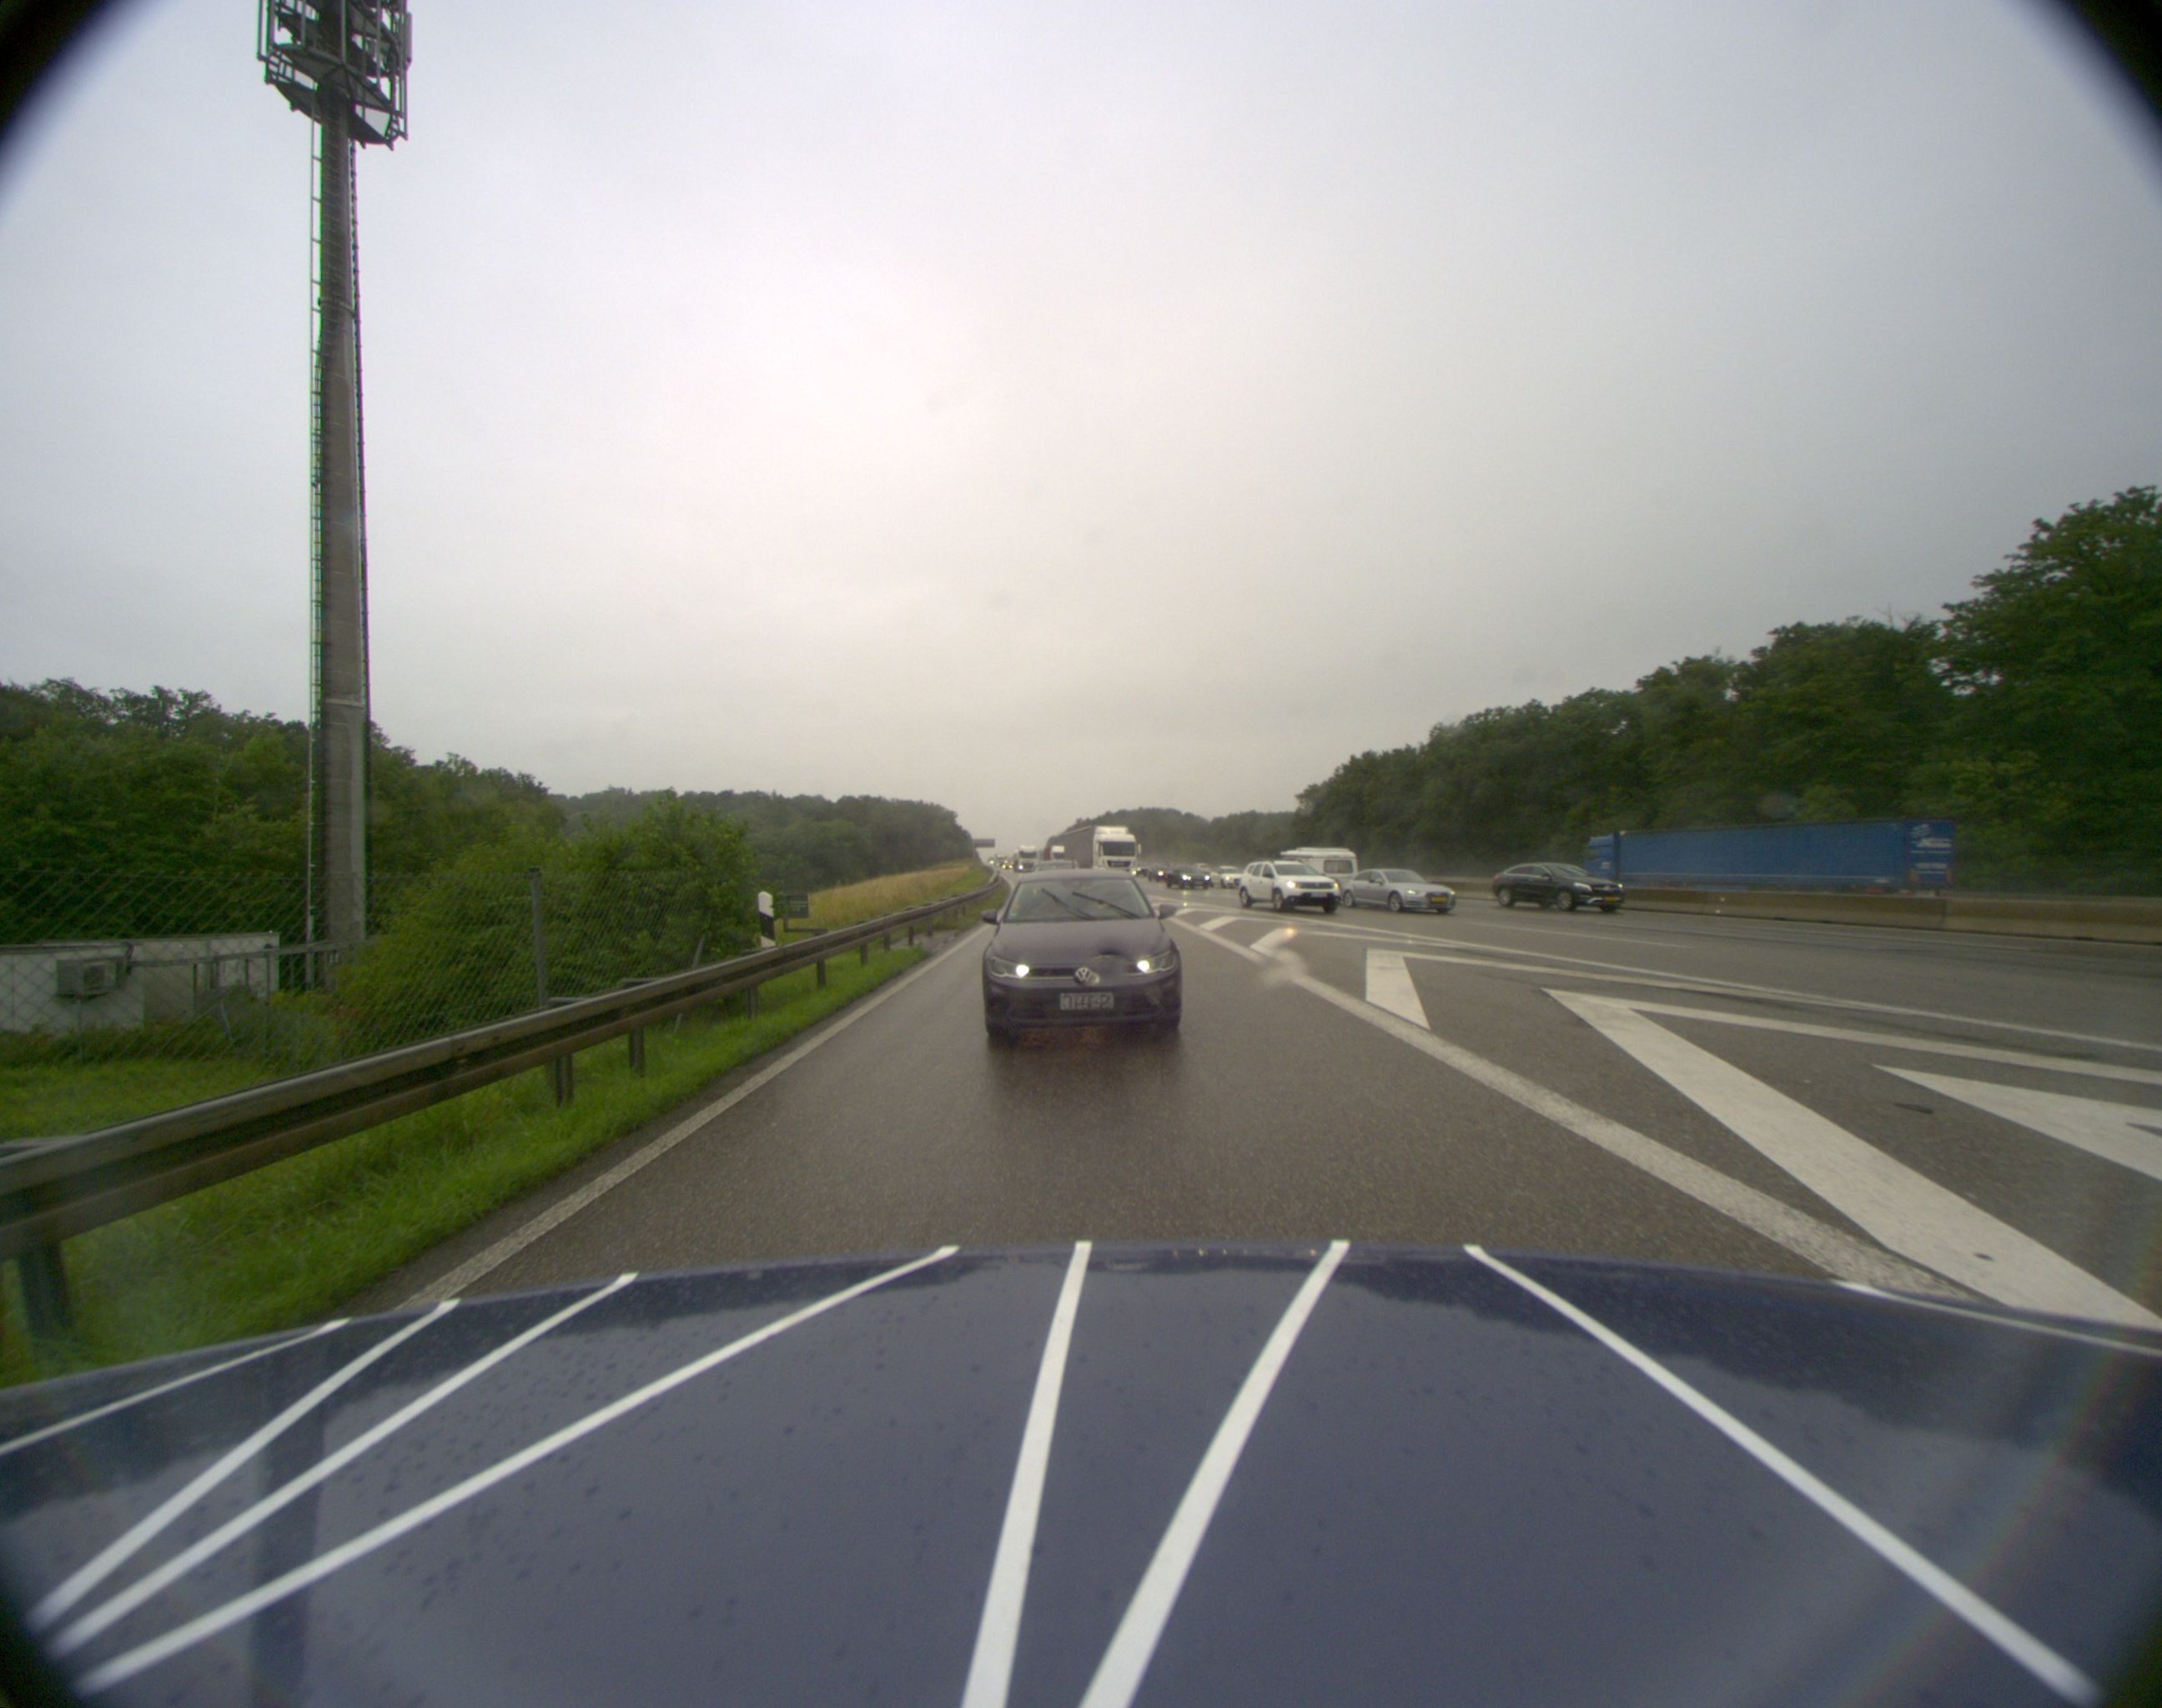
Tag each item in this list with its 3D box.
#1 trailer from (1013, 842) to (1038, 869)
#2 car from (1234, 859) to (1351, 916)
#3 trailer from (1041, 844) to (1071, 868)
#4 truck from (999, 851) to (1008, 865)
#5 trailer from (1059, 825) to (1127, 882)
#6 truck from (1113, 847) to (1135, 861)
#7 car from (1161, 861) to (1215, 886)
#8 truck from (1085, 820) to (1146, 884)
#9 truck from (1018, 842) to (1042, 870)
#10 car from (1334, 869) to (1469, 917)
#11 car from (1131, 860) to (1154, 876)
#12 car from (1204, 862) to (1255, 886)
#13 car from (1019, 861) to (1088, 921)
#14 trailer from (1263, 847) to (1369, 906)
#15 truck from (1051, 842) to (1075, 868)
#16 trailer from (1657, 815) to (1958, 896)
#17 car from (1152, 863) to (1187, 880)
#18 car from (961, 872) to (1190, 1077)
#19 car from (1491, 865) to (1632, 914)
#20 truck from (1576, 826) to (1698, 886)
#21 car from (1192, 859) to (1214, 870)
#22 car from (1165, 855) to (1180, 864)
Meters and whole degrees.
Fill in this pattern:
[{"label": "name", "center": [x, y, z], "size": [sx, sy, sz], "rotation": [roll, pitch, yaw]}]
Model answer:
[{"label": "trailer", "center": [-8.800, 0.300, 119.210], "size": [2.772, 4.002, 11.031], "rotation": [1, 0, -10]}, {"label": "car", "center": [6.486, 0.996, 23.859], "size": [1.792, 1.576, 4.320], "rotation": [2, -1, -10]}, {"label": "trailer", "center": [-4.121, 0.310, 120.909], "size": [2.692, 3.484, 15.113], "rotation": [-3, 0, -9]}, {"label": "truck", "center": [-23.750, 1.373, 233.101], "size": [2.597, 4.120, 5.229], "rotation": [-3, -1, -3]}, {"label": "trailer", "center": [0.648, 0.028, 60.231], "size": [2.905, 3.959, 14.107], "rotation": [0, -1, -10]}, {"label": "truck", "center": [11.226, 0.124, 201.394], "size": [3.158, 3.643, 15.200], "rotation": [0, -1, -8]}, {"label": "car", "center": [6.695, 1.217, 47.859], "size": [1.887, 1.472, 4.497], "rotation": [1, 0, -13]}, {"label": "truck", "center": [2.188, -0.080, 50.890], "size": [2.882, 4.028, 5.929], "rotation": [0, 0, -10]}, {"label": "truck", "center": [-7.641, 0.252, 112.809], "size": [2.760, 3.984, 6.502], "rotation": [1, 0, -10]}, {"label": "car", "center": [10.294, 1.200, 24.828], "size": [1.852, 1.340, 4.578], "rotation": [2, -1, -10]}, {"label": "car", "center": [7.404, 1.670, 92.047], "size": [1.734, 1.781, 3.891], "rotation": [1, -1, -12]}, {"label": "car", "center": [9.940, 1.315, 51.152], "size": [1.886, 1.472, 4.498], "rotation": [1, 0, -10]}, {"label": "car", "center": [-0.742, 1.036, 23.033], "size": [1.810, 1.532, 4.000], "rotation": [-3, 0, 0]}, {"label": "trailer", "center": [9.375, 0.867, 30.840], "size": [2.136, 2.143, 5.177], "rotation": [2, -1, -7]}, {"label": "truck", "center": [-2.696, 0.178, 112.186], "size": [2.698, 3.635, 5.321], "rotation": [-3, 0, -9]}, {"label": "trailer", "center": [34.858, 0.092, 37.579], "size": [2.741, 3.397, 11.389], "rotation": [0, 0, -10]}, {"label": "car", "center": [7.531, 1.501, 64.700], "size": [1.824, 1.405, 4.121], "rotation": [1, -2, -10]}, {"label": "car", "center": [-0.082, 0.975, 7.958], "size": [1.670, 1.394, 4.261], "rotation": [-4, 0, -1]}, {"label": "car", "center": [17.282, 1.214, 27.618], "size": [1.710, 1.565, 4.521], "rotation": [2, -1, -10]}, {"label": "truck", "center": [33.489, 0.143, 46.045], "size": [2.770, 3.395, 5.706], "rotation": [0, 0, -9]}, {"label": "car", "center": [16.692, 1.456, 104.327], "size": [1.794, 1.517, 4.331], "rotation": [0, 0, -9]}, {"label": "car", "center": [17.819, 1.162, 147.826], "size": [1.691, 1.739, 3.996], "rotation": [0, 0, -11]}]
